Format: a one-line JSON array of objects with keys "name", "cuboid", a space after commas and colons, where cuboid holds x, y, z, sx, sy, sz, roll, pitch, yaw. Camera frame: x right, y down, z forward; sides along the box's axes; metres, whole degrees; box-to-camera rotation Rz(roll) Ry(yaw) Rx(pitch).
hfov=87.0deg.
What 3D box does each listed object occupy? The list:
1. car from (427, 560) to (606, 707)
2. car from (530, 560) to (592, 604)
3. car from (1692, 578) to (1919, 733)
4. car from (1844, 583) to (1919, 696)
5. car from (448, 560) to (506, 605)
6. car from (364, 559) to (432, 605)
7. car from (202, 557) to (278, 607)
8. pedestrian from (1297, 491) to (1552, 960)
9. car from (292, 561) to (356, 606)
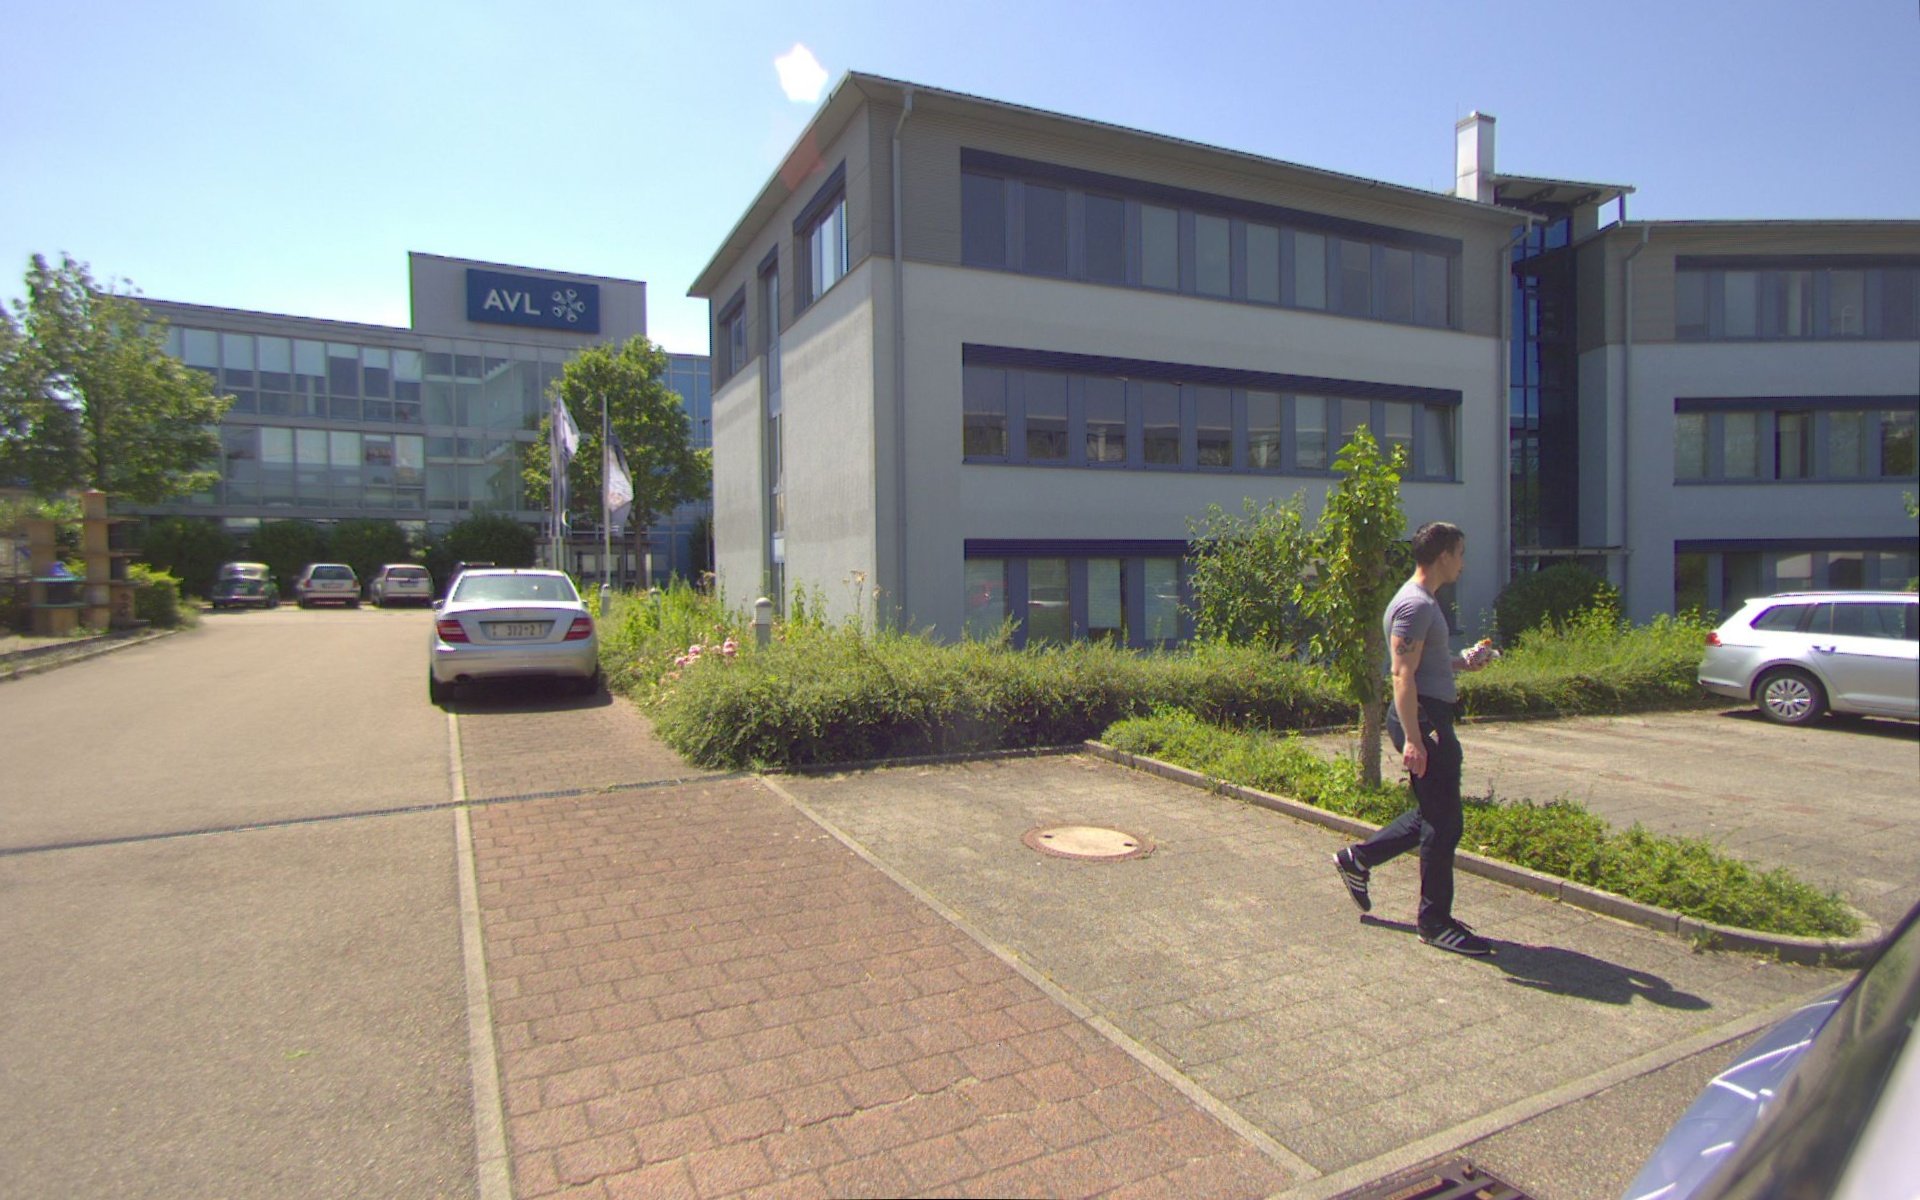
[{"name": "car", "cuboid": [-5.383, 0.300, 12.103, 1.694, 1.454, 3.722, 0, 1, -27]}, {"name": "car", "cuboid": [-15.060, -0.671, 38.086, 1.714, 1.538, 4.005, 0, 1, -28]}, {"name": "car", "cuboid": [10.461, 0.567, 10.307, 1.792, 1.515, 4.527, 0, 2, -29]}, {"name": "car", "cuboid": [13.451, 0.554, 12.220, 1.618, 1.408, 3.833, 0, 2, -29]}, {"name": "car", "cuboid": [-17.643, -0.632, 36.890, 1.714, 1.538, 4.005, 0, 1, -28]}, {"name": "car", "cuboid": [-20.077, -0.625, 36.085, 1.716, 1.538, 4.000, 0, 1, -35]}, {"name": "car", "cuboid": [-23.530, -0.592, 33.189, 1.715, 1.538, 4.004, 0, 1, -31]}, {"name": "pedestrian", "cuboid": [1.965, 0.468, 4.331, 0.607, 1.779, 0.789, 0, 0, -32]}, {"name": "car", "cuboid": [-21.698, -0.557, 34.467, 1.643, 1.458, 4.000, 0, 1, -35]}]
